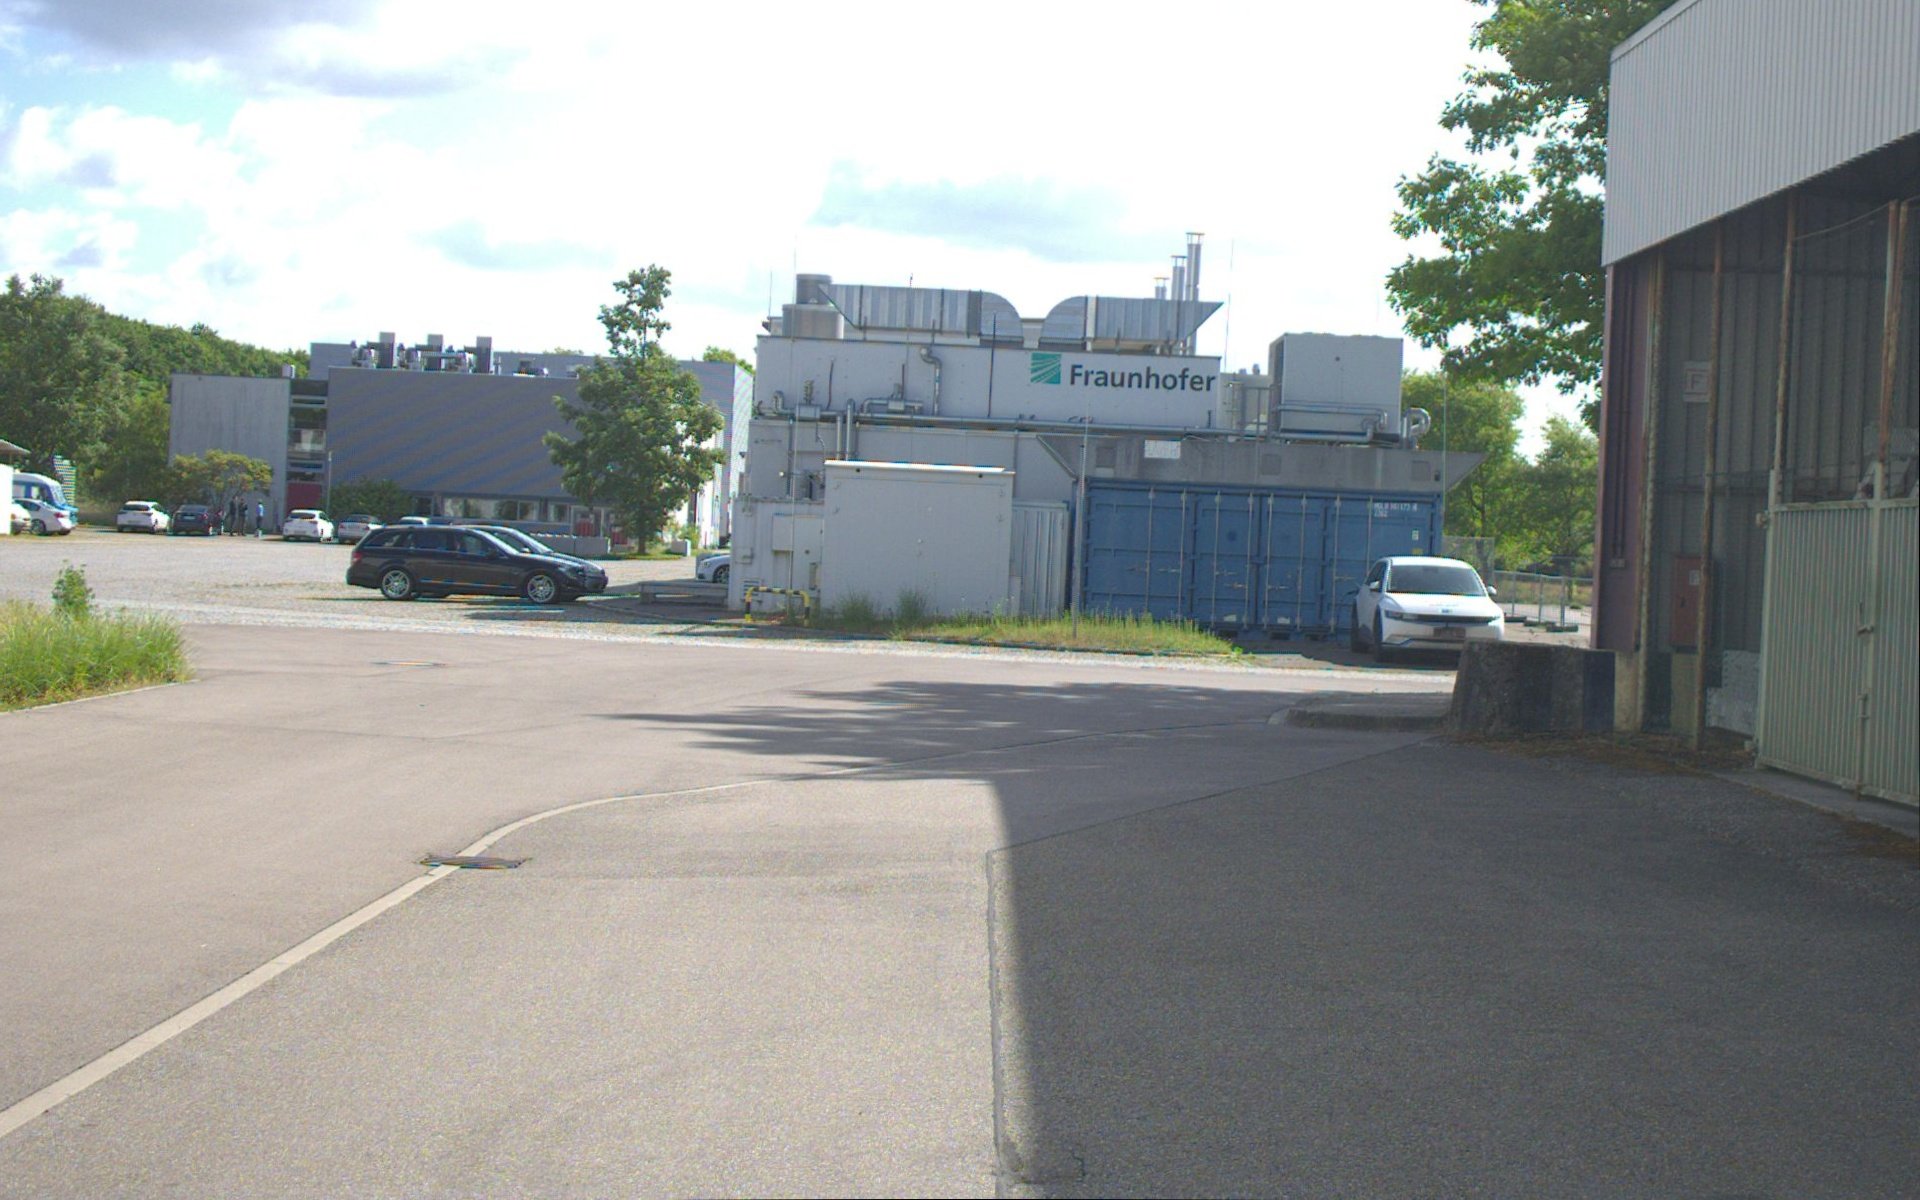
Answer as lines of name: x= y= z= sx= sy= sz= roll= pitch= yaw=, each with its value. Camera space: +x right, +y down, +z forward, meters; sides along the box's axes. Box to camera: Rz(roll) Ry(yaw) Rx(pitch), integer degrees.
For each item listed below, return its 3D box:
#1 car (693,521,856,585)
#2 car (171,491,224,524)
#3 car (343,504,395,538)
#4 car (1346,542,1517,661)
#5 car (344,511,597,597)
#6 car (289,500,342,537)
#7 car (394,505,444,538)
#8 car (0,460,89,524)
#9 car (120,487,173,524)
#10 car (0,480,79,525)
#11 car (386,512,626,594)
car: x=-5.040 y=-1.274 z=93.902 sx=4.279 sy=1.564 sz=1.987 roll=2 pitch=-1 yaw=1
car: x=-36.148 y=-4.379 z=163.055 sx=1.877 sy=1.532 sz=4.036 roll=1 pitch=1 yaw=-5
car: x=-28.020 y=-3.733 z=163.101 sx=1.877 sy=1.532 sz=4.036 roll=1 pitch=1 yaw=-2
car: x=7.281 y=-0.017 z=53.480 sx=1.981 sy=1.588 sz=4.341 roll=3 pitch=2 yaw=0
car: x=-9.383 y=-0.879 z=66.187 sx=4.529 sy=1.438 sz=1.987 roll=2 pitch=-1 yaw=1
car: x=-30.586 y=-3.842 z=163.269 sx=1.877 sy=1.684 sz=4.036 roll=1 pitch=1 yaw=-2
car: x=-25.691 y=-3.708 z=163.306 sx=1.877 sy=1.532 sz=4.036 roll=1 pitch=1 yaw=-2
car: x=-38.326 y=-4.441 z=139.666 sx=5.259 sy=2.433 sz=2.049 roll=3 pitch=1 yaw=4
car: x=-38.601 y=-4.475 z=163.190 sx=1.846 sy=1.663 sz=4.134 roll=1 pitch=1 yaw=-5
car: x=-37.368 y=-3.901 z=136.726 sx=4.110 sy=1.625 sz=1.807 roll=3 pitch=1 yaw=4
car: x=-9.141 y=-0.933 z=69.443 sx=4.529 sy=1.438 sz=1.904 roll=2 pitch=-1 yaw=1
